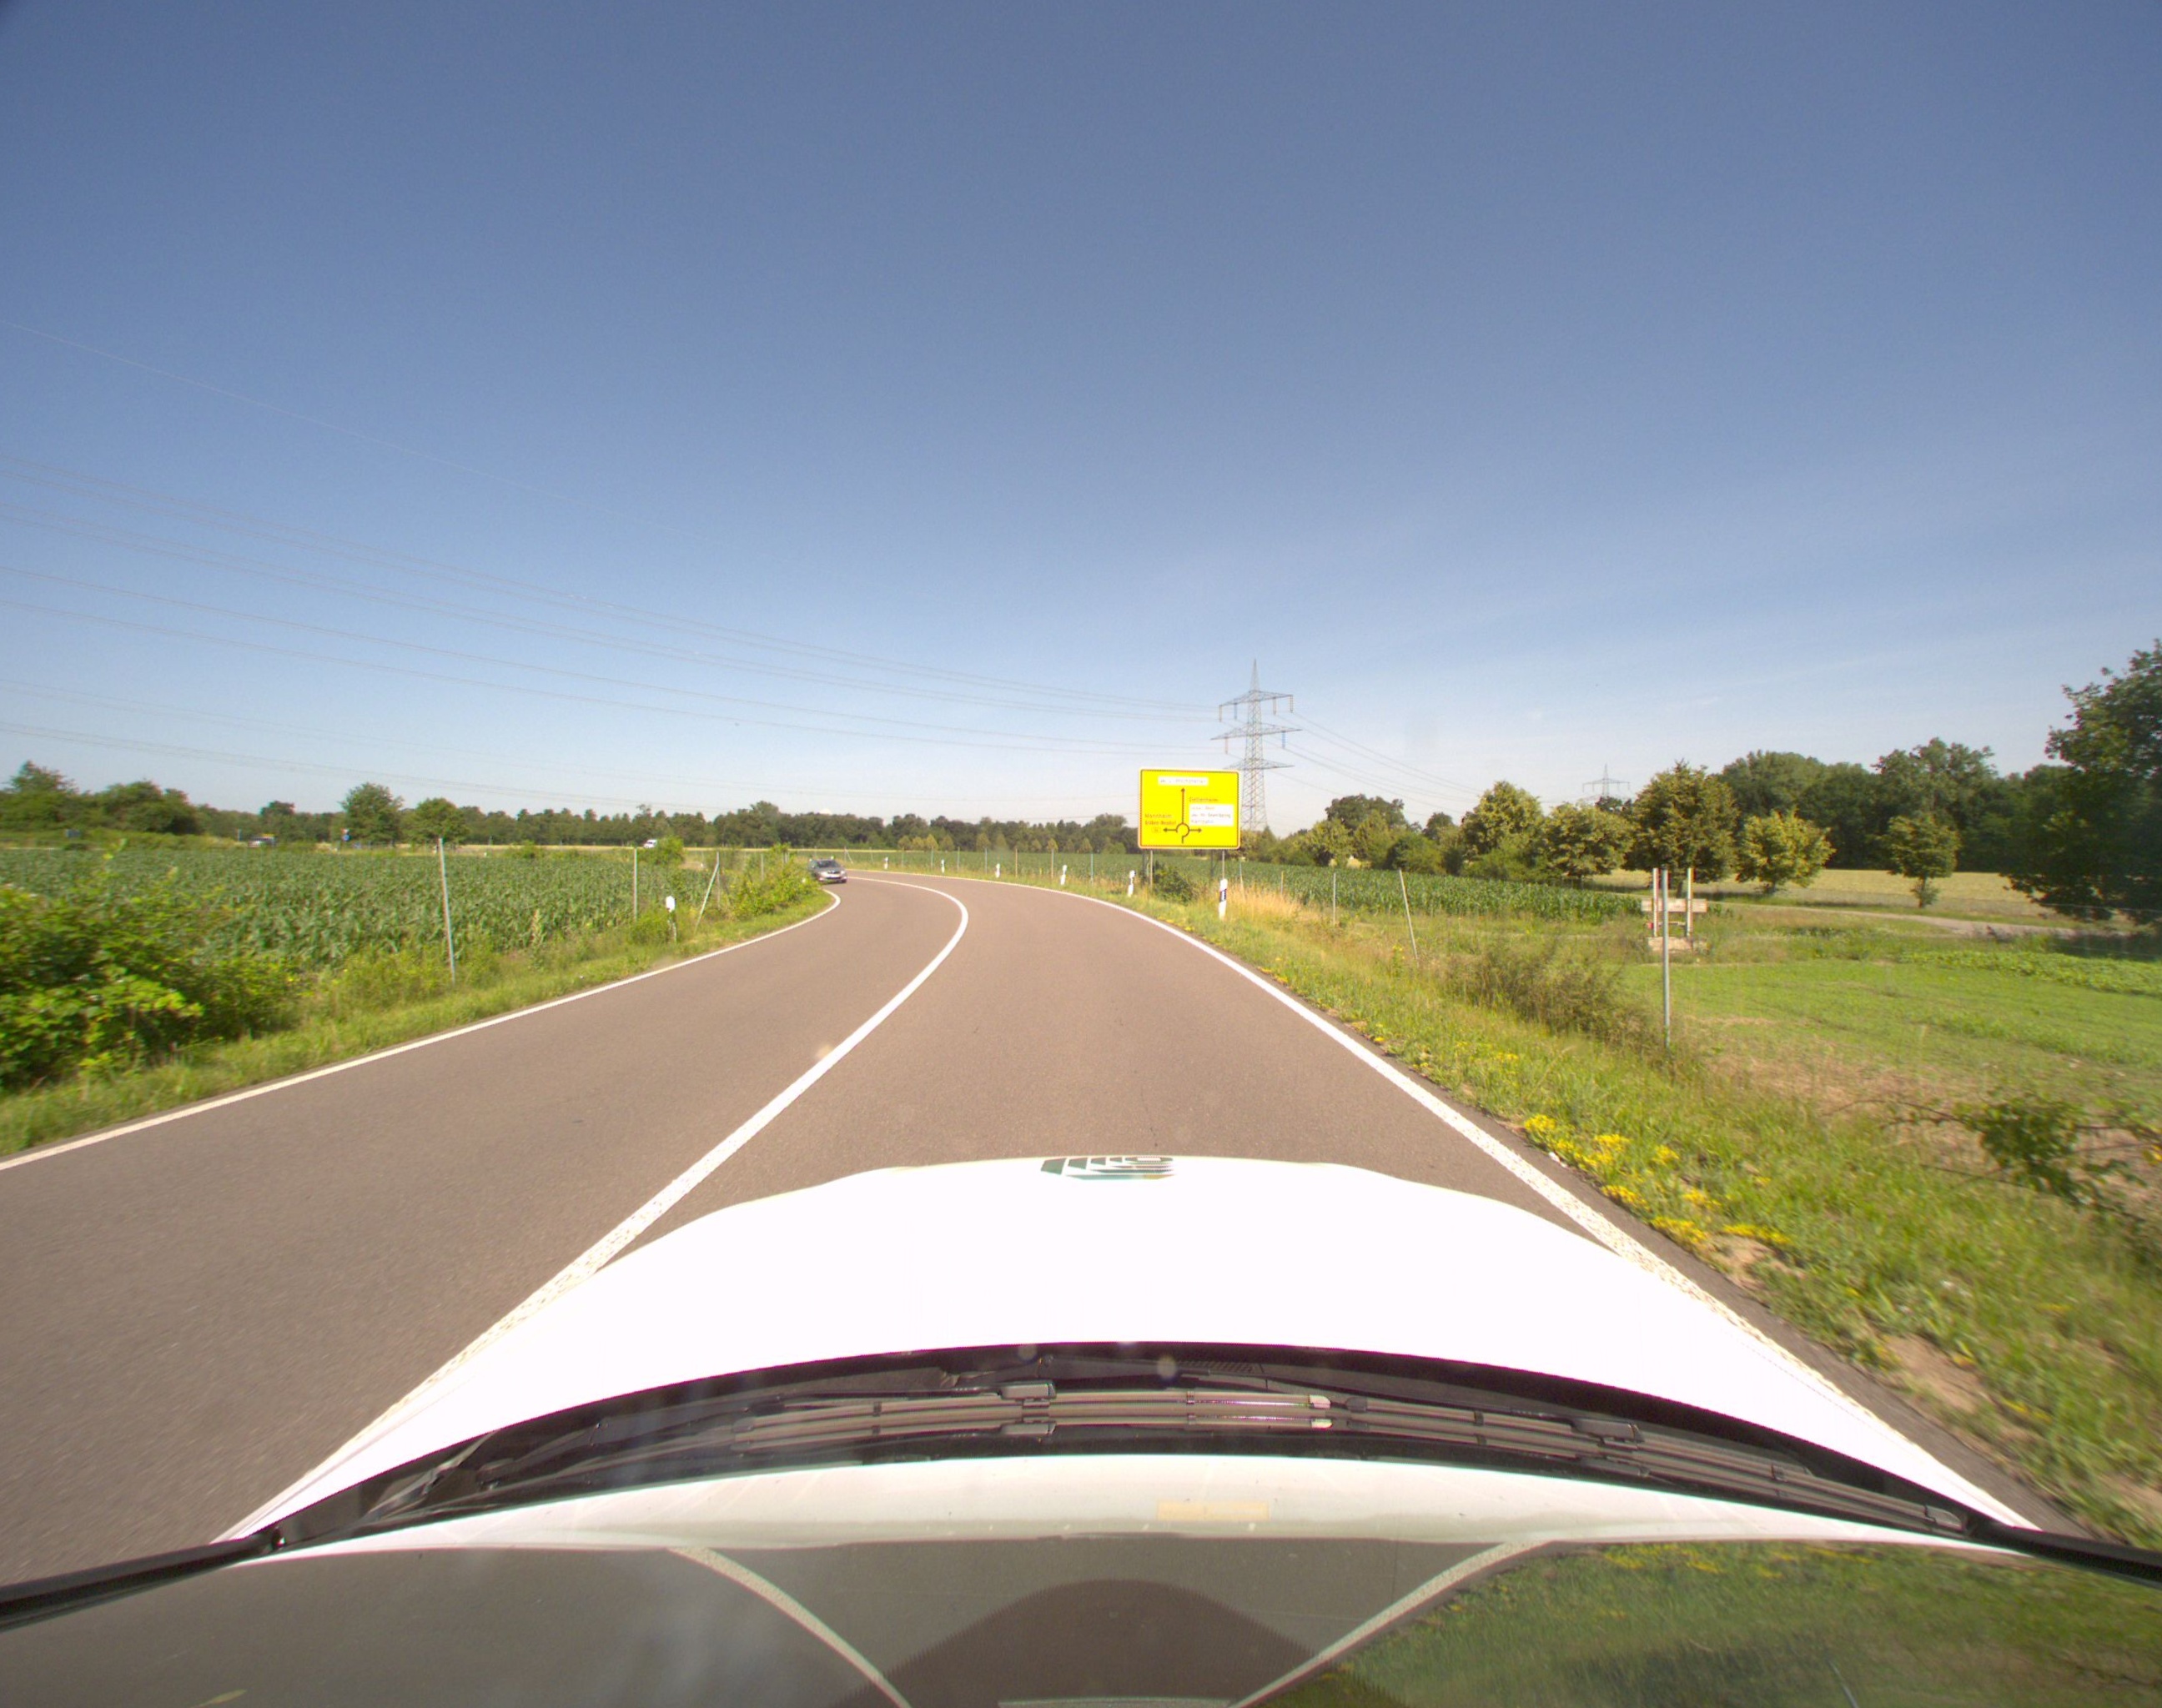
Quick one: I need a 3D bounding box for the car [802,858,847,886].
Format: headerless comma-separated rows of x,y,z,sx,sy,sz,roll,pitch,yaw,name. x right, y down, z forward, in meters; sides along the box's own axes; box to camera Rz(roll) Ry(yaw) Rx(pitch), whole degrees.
-15.519,1.030,49.063,1.876,1.480,5.093,-4,2,-25,car
